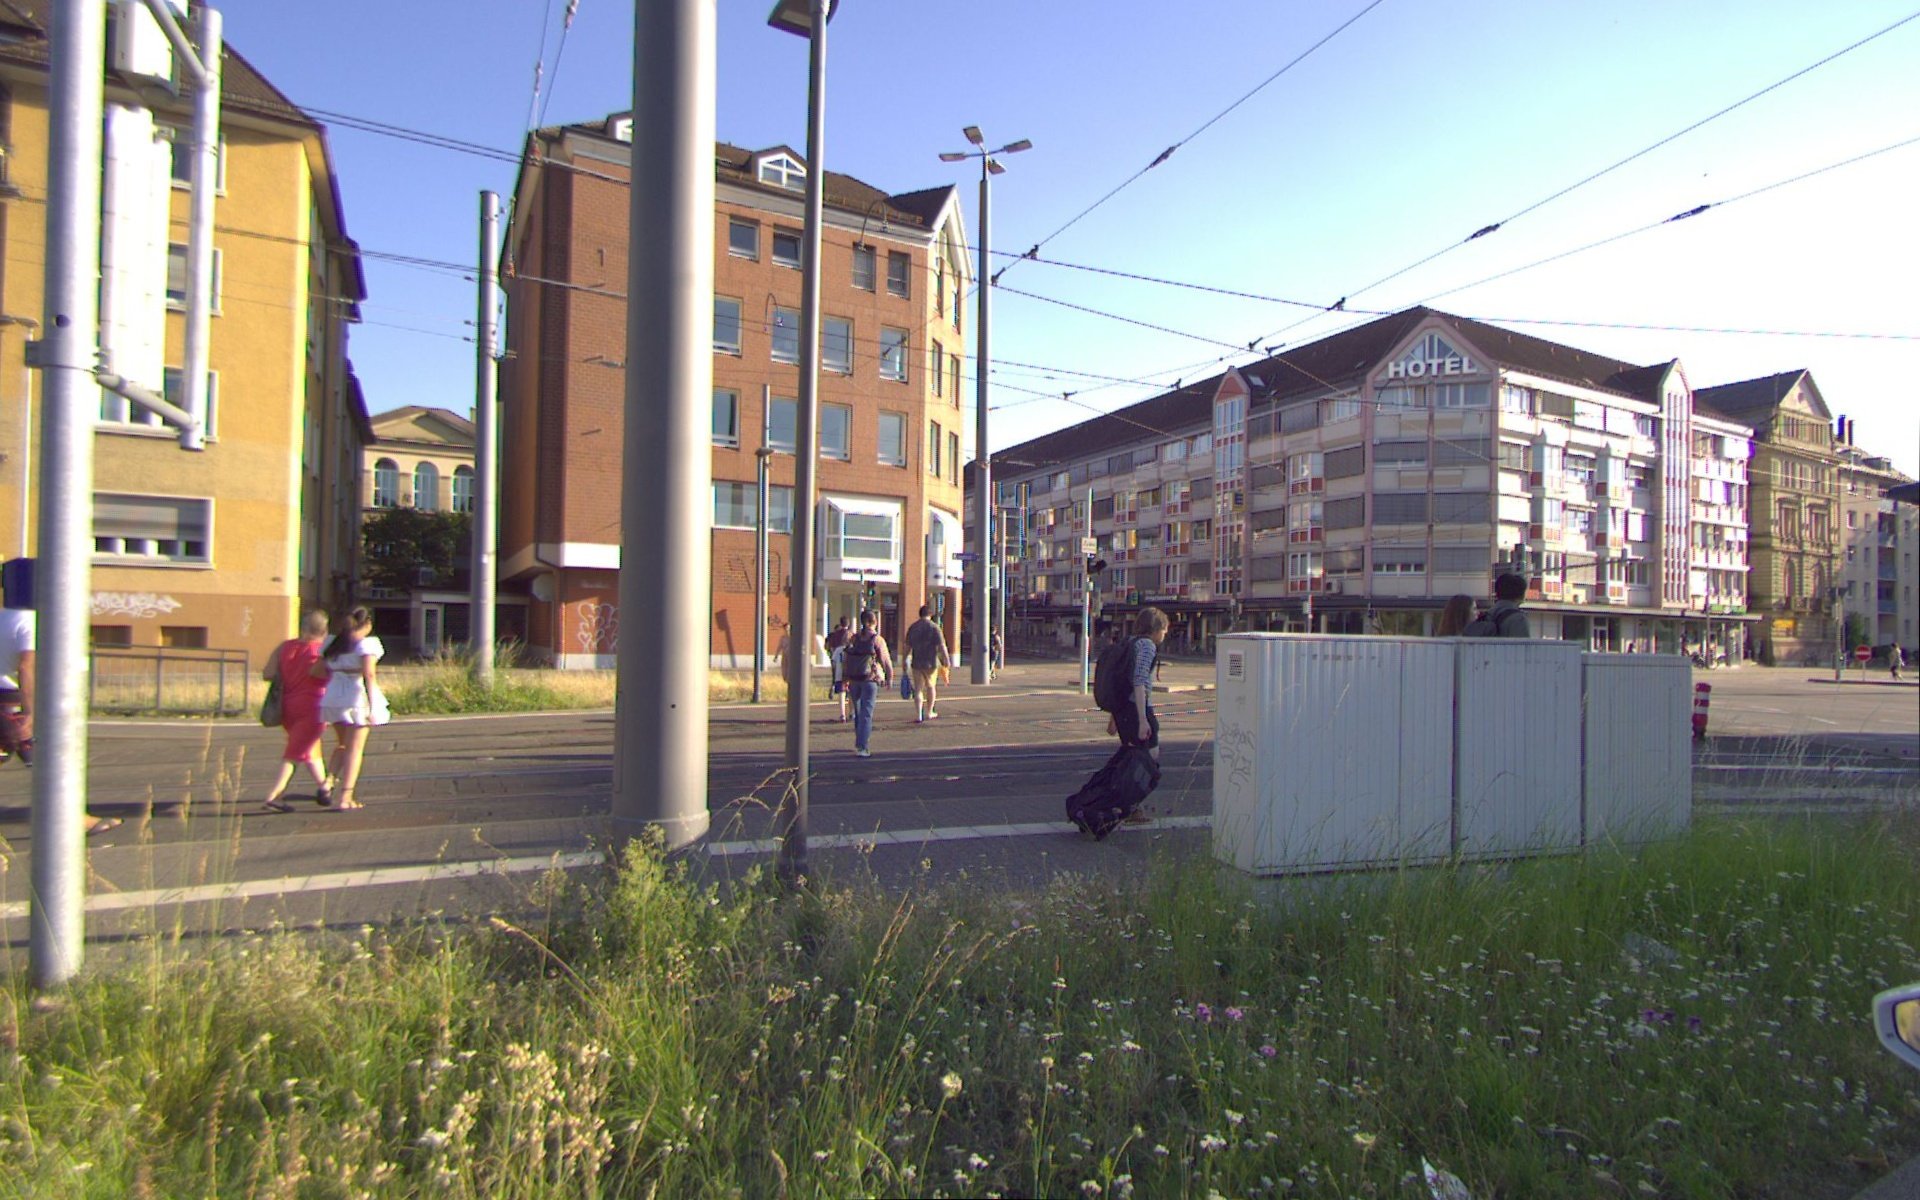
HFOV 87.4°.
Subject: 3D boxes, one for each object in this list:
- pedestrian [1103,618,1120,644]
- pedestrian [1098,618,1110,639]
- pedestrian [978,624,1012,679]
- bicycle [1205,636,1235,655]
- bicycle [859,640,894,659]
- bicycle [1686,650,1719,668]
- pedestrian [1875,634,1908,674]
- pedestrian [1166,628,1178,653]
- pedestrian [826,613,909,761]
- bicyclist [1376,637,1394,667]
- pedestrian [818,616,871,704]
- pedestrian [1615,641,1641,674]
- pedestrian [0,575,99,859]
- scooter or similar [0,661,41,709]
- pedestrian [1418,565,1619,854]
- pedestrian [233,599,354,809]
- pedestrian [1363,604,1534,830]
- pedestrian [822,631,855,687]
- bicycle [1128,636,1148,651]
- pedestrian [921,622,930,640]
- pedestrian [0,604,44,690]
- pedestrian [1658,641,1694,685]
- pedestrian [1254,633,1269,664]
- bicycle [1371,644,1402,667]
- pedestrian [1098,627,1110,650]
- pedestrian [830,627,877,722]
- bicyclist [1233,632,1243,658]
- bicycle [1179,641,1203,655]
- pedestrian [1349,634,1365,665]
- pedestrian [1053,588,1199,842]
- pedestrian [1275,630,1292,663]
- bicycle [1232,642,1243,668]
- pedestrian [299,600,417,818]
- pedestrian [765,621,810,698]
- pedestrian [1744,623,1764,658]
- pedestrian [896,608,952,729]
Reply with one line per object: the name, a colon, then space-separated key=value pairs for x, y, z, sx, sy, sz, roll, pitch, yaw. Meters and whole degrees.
pedestrian: x=10.118 y=2.064 z=67.048 sx=0.773 sy=1.682 sz=0.677 roll=2 pitch=0 yaw=-35
pedestrian: x=11.622 y=2.285 z=81.122 sx=0.741 sy=1.667 sz=0.547 roll=2 pitch=0 yaw=-20
pedestrian: x=1.166 y=1.698 z=33.208 sx=0.824 sy=1.781 sz=0.687 roll=2 pitch=0 yaw=-43
bicycle: x=17.871 y=3.136 z=69.154 sx=0.720 sy=1.243 sz=2.319 roll=2 pitch=-2 yaw=-24
bicycle: x=-4.518 y=2.683 z=54.621 sx=1.813 sy=0.974 sz=0.540 roll=2 pitch=0 yaw=-27
bicycle: x=47.893 y=3.797 z=64.795 sx=2.056 sy=1.085 sz=0.451 roll=2 pitch=0 yaw=-13
pedestrian: x=37.013 y=2.155 z=39.925 sx=0.841 sy=1.483 sz=0.685 roll=2 pitch=-5 yaw=32
pedestrian: x=16.040 y=3.068 z=75.988 sx=0.601 sy=1.877 sz=0.601 roll=2 pitch=0 yaw=-20
pedestrian: x=-1.037 y=0.945 z=11.199 sx=0.612 sy=1.556 sz=0.782 roll=2 pitch=0 yaw=-30
bicyclist: x=23.423 y=2.844 z=55.385 sx=0.649 sy=1.618 sz=0.637 roll=-1 pitch=1 yaw=-26
pedestrian: x=-2.198 y=1.125 z=19.170 sx=0.597 sy=1.609 sz=0.787 roll=2 pitch=0 yaw=28
pedestrian: x=31.124 y=2.682 z=46.793 sx=0.847 sy=1.472 sz=0.700 roll=2 pitch=0 yaw=-34
pedestrian: x=-5.506 y=0.652 z=5.907 sx=0.614 sy=1.569 sz=0.779 roll=2 pitch=-1 yaw=-40
scooter or similar: x=-21.268 y=1.863 z=22.191 sx=1.311 sy=1.019 sz=0.484 roll=2 pitch=0 yaw=-23
pedestrian: x=3.854 y=0.712 z=6.990 sx=0.883 sy=1.825 sz=0.787 roll=-5 pitch=4 yaw=-2
pedestrian: x=-4.920 y=0.736 z=7.414 sx=0.628 sy=1.451 sz=0.523 roll=2 pitch=0 yaw=36
pedestrian: x=3.804 y=0.876 z=7.881 sx=0.883 sy=1.662 sz=0.787 roll=2 pitch=0 yaw=-4
pedestrian: x=-3.622 y=1.745 z=29.973 sx=0.828 sy=1.605 sz=0.681 roll=2 pitch=0 yaw=-15
bicycle: x=14.060 y=3.416 z=79.414 sx=1.630 sy=1.134 sz=0.480 roll=2 pitch=0 yaw=-30
pedestrian: x=-4.010 y=3.630 z=116.473 sx=0.829 sy=2.040 sz=0.774 roll=2 pitch=0 yaw=-20
pedestrian: x=-20.947 y=1.048 z=22.302 sx=0.713 sy=1.872 sz=0.559 roll=2 pitch=0 yaw=-23
pedestrian: x=33.791 y=2.956 z=47.415 sx=0.847 sy=1.909 sz=1.187 roll=-3 pitch=3 yaw=-34
pedestrian: x=17.115 y=2.733 z=56.970 sx=0.612 sy=1.717 sz=0.866 roll=2 pitch=0 yaw=29
bicycle: x=23.558 y=3.073 z=55.462 sx=1.746 sy=1.160 sz=0.636 roll=-1 pitch=1 yaw=-26
pedestrian: x=11.948 y=3.195 z=83.491 sx=0.804 sy=1.802 sz=0.680 roll=2 pitch=0 yaw=0
pedestrian: x=-1.609 y=1.104 z=15.097 sx=0.586 sy=1.378 sz=0.607 roll=3 pitch=-1 yaw=-11
bicyclist: x=16.562 y=2.675 z=59.935 sx=0.555 sy=1.501 sz=0.738 roll=0 pitch=1 yaw=15
bicycle: x=16.506 y=3.426 z=71.840 sx=0.494 sy=0.929 sz=2.066 roll=2 pitch=-2 yaw=-23
pedestrian: x=22.405 y=2.790 z=56.686 sx=0.705 sy=1.684 sz=0.631 roll=0 pitch=-2 yaw=37
pedestrian: x=1.155 y=0.762 z=7.070 sx=0.612 sy=1.662 sz=0.781 roll=2 pitch=0 yaw=-32
pedestrian: x=18.050 y=2.592 z=55.960 sx=0.503 sy=1.787 sz=1.001 roll=2 pitch=0 yaw=41
bicycle: x=16.591 y=3.269 z=60.066 sx=0.572 sy=1.385 sz=2.096 roll=0 pitch=0 yaw=15
pedestrian: x=-4.346 y=0.749 z=7.255 sx=0.629 sy=1.475 sz=0.522 roll=2 pitch=0 yaw=41
pedestrian: x=-3.736 y=1.280 z=21.826 sx=0.825 sy=1.605 sz=0.683 roll=2 pitch=0 yaw=-3
pedestrian: x=57.307 y=2.920 z=72.527 sx=0.953 sy=2.430 sz=0.918 roll=2 pitch=0 yaw=-40
pedestrian: x=-0.540 y=1.024 z=15.413 sx=0.761 sy=1.781 sz=0.900 roll=2 pitch=0 yaw=1
